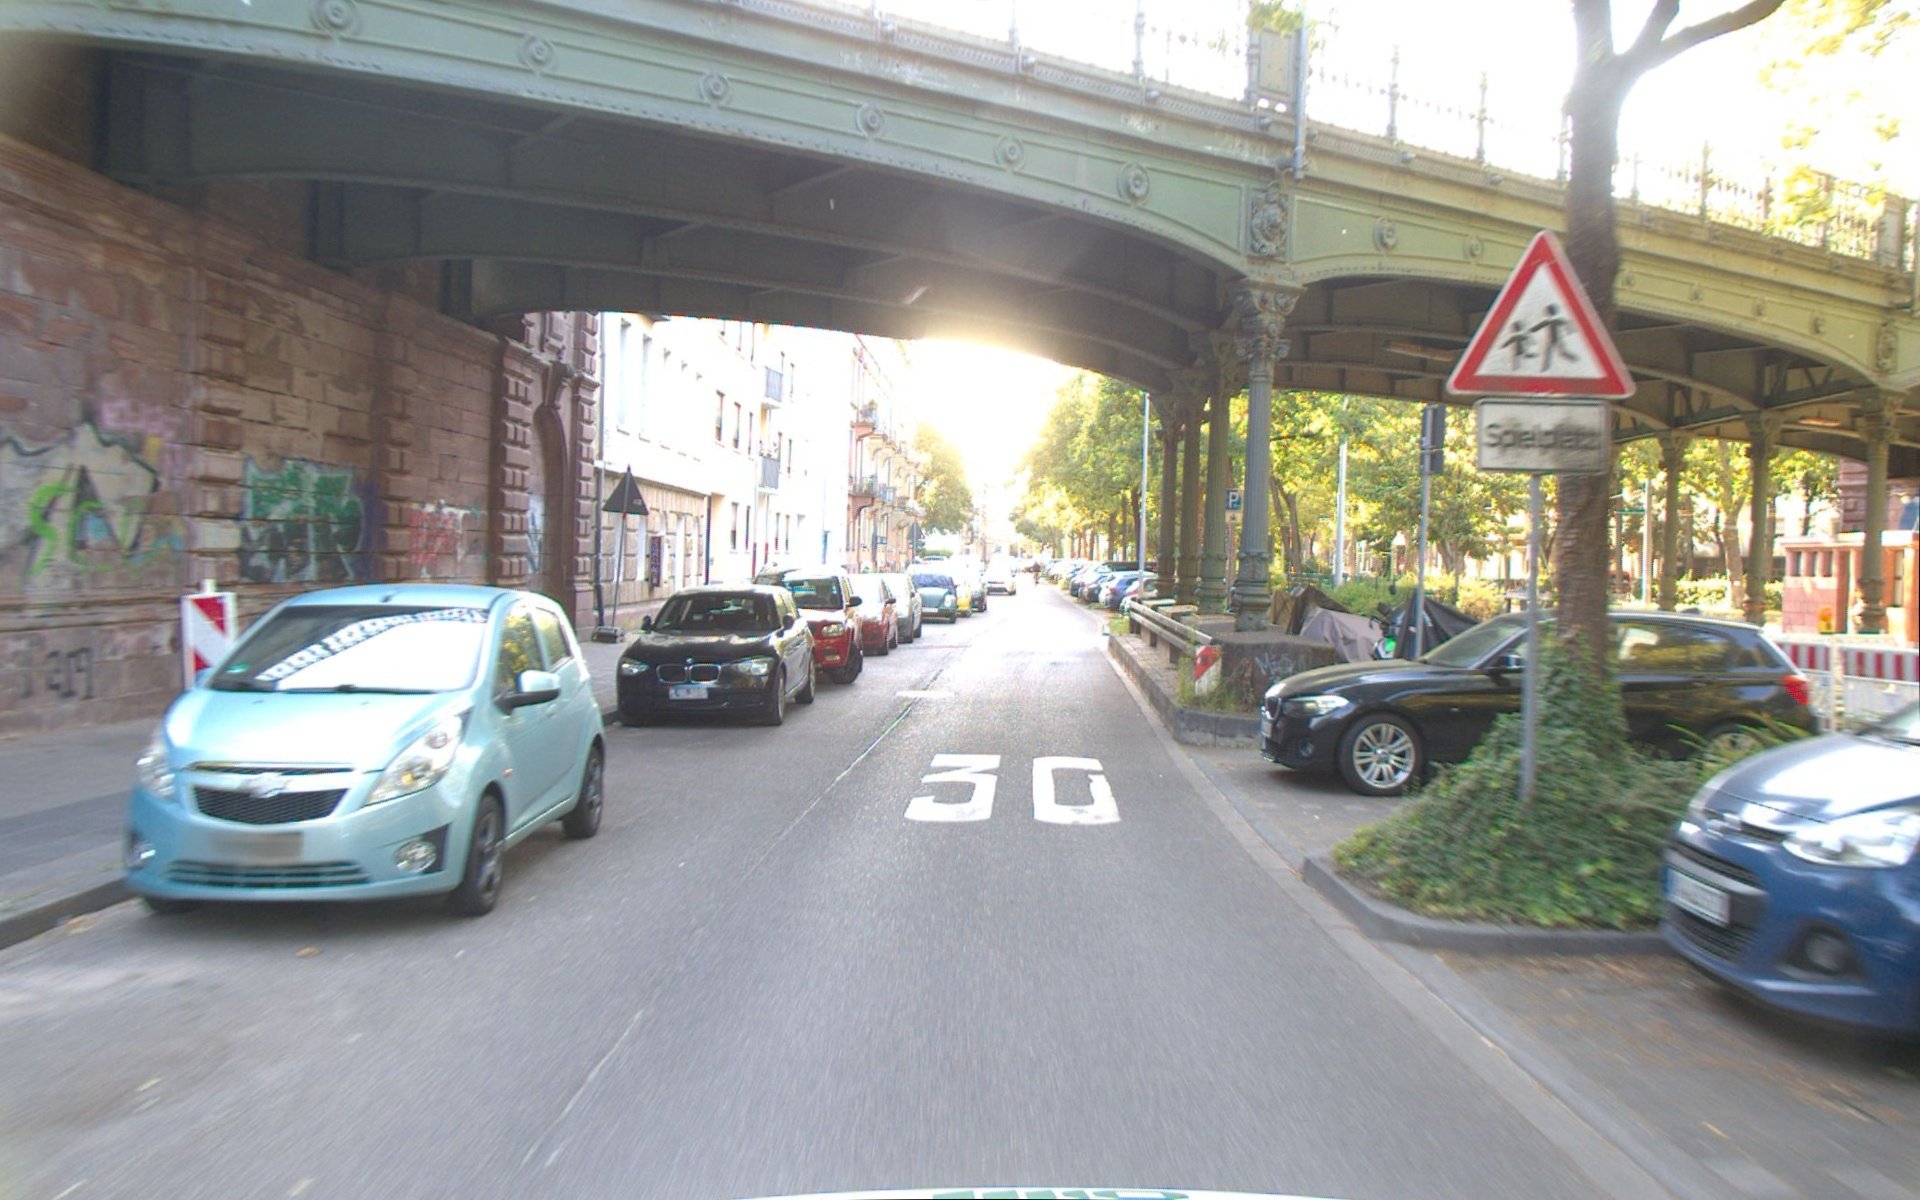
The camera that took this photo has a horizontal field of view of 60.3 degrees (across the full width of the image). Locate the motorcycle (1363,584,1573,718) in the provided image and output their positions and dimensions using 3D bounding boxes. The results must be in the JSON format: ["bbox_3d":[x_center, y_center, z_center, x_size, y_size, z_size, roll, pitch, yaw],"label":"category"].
[{"bbox_3d":[5.201,0.521,16.938,1.904,1.259,0.898,3,0,-24],"label":"motorcycle"}]

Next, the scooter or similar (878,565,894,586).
[{"bbox_3d":[-4.759,-1.544,105.924,0.767,1.243,2.705,3,0,2],"label":"scooter or similar"}]

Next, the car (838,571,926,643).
[{"bbox_3d":[-1.700,0.114,37.196,1.602,1.492,4.002,-1,1,2],"label":"car"}]

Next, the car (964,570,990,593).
[{"bbox_3d":[1.122,-1.210,108.099,1.472,1.460,2.755,1,1,6],"label":"car"}]

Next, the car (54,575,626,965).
[{"bbox_3d":[-2.914,0.675,8.685,1.562,1.574,3.914,1,1,-1],"label":"car"}]

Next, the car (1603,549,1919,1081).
[{"bbox_3d":[4.853,0.733,5.822,4.489,1.634,1.736,2,0,5],"label":"car"}]

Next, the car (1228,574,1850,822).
[{"bbox_3d":[4.425,0.731,13.084,4.285,1.605,1.674,3,0,0],"label":"car"}]

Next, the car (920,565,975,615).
[{"bbox_3d":[-0.374,-0.354,54.105,1.667,1.551,3.775,2,1,1],"label":"car"}]

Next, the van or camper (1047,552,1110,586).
[{"bbox_3d":[9.554,-2.511,133.650,4.880,2.418,2.185,3,0,0],"label":"van or camper"}]

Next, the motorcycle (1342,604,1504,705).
[{"bbox_3d":[5.226,0.617,18.630,1.704,1.048,0.803,3,0,-33],"label":"motorcycle"}]

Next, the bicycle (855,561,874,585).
[{"bbox_3d":[-5.071,-1.446,87.905,0.721,1.227,2.515,3,2,3],"label":"bicycle"}]

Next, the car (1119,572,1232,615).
[{"bbox_3d":[7.615,-0.213,58.638,3.706,1.426,1.766,1,0,-2],"label":"car"}]

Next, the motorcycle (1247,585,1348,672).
[{"bbox_3d":[5.912,0.494,28.972,1.567,1.432,0.712,3,0,22],"label":"motorcycle"}]

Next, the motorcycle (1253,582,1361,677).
[{"bbox_3d":[5.657,0.474,26.966,1.567,1.432,0.712,3,0,22],"label":"motorcycle"}]

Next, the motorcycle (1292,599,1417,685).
[{"bbox_3d":[5.713,0.608,23.950,1.573,1.152,0.710,3,0,-15],"label":"motorcycle"}]

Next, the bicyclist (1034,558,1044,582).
[{"bbox_3d":[5.572,-2.103,116.559,0.615,1.600,0.802,3,0,0],"label":"bicyclist"}]

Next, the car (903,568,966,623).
[{"bbox_3d":[-0.713,-0.165,48.894,1.534,1.544,3.784,2,1,3],"label":"car"}]

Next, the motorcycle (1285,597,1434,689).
[{"bbox_3d":[5.474,0.591,22.674,1.806,1.152,0.845,3,0,-22],"label":"motorcycle"}]

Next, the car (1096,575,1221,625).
[{"bbox_3d":[6.076,0.005,50.945,3.703,1.426,1.828,1,0,3],"label":"car"}]

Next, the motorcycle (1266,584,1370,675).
[{"bbox_3d":[6.033,0.497,27.867,1.567,1.432,0.712,3,0,22],"label":"motorcycle"}]

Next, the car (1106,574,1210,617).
[{"bbox_3d":[7.296,-0.155,60.954,3.701,1.472,1.665,1,0,7],"label":"car"}]

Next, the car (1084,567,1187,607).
[{"bbox_3d":[7.564,-0.551,71.219,4.306,1.605,1.665,1,0,7],"label":"car"}]

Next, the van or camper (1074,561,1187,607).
[{"bbox_3d":[8.158,-0.776,79.325,5.300,2.062,2.031,1,2,4],"label":"van or camper"}]

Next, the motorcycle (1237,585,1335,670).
[{"bbox_3d":[5.885,0.495,29.843,1.567,1.432,0.712,3,0,22],"label":"motorcycle"}]

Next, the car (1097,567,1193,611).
[{"bbox_3d":[7.426,-0.445,66.493,3.703,1.675,1.665,1,0,2],"label":"car"}]

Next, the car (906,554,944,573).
[{"bbox_3d":[-3.783,-3.986,180.733,3.904,1.735,2.001,3,0,3],"label":"car"}]

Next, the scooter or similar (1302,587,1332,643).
[{"bbox_3d":[8.665,0.362,40.174,0.467,1.320,1.326,3,0,5],"label":"scooter or similar"}]

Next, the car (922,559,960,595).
[{"bbox_3d":[-0.973,-1.206,84.750,1.716,1.735,4.202,3,1,1],"label":"car"}]

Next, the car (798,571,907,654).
[{"bbox_3d":[-2.019,0.194,32.052,1.654,1.466,4.001,2,1,2],"label":"car"}]

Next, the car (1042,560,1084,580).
[{"bbox_3d":[10.171,-2.968,163.935,3.906,1.825,1.859,3,0,-1],"label":"car"}]

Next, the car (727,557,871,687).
[{"bbox_3d":[-2.292,0.260,24.513,1.681,1.737,4.323,1,1,0],"label":"car"}]

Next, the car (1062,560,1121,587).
[{"bbox_3d":[9.264,-1.871,116.671,4.132,1.896,1.762,0,1,3],"label":"car"}]

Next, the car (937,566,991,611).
[{"bbox_3d":[0.175,-0.425,58.962,1.703,1.505,4.002,1,1,3],"label":"car"}]

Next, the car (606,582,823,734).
[{"bbox_3d":[-2.640,0.559,18.660,1.681,1.489,4.002,1,1,2],"label":"car"}]

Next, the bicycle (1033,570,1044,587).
[{"bbox_3d":[5.544,-1.532,116.472,0.628,1.119,1.944,3,0,1],"label":"bicycle"}]

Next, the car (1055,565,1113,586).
[{"bbox_3d":[9.091,-1.783,121.131,4.130,1.478,1.650,0,1,6],"label":"car"}]

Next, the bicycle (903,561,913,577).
[{"bbox_3d":[-4.078,-2.411,129.000,0.690,1.167,1.889,3,0,-1],"label":"bicycle"}]

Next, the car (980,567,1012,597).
[{"bbox_3d":[1.949,-0.986,88.042,1.633,1.455,4.002,-1,2,2],"label":"car"}]

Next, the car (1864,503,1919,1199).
[{"bbox_3d":[4.450,0.749,3.248,4.287,1.738,1.906,3,0,-3],"label":"car"}]

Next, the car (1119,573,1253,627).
[{"bbox_3d":[6.688,0.003,49.096,3.706,1.498,1.634,1,0,-2],"label":"car"}]

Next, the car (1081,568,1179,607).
[{"bbox_3d":[7.560,-0.554,73.826,4.307,1.605,1.665,1,0,4],"label":"car"}]

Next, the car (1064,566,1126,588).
[{"bbox_3d":[9.093,-1.529,111.328,3.998,1.467,1.761,0,1,-1],"label":"car"}]

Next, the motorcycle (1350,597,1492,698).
[{"bbox_3d":[5.670,0.594,20.316,1.704,1.152,0.704,3,-1,-33],"label":"motorcycle"}]
